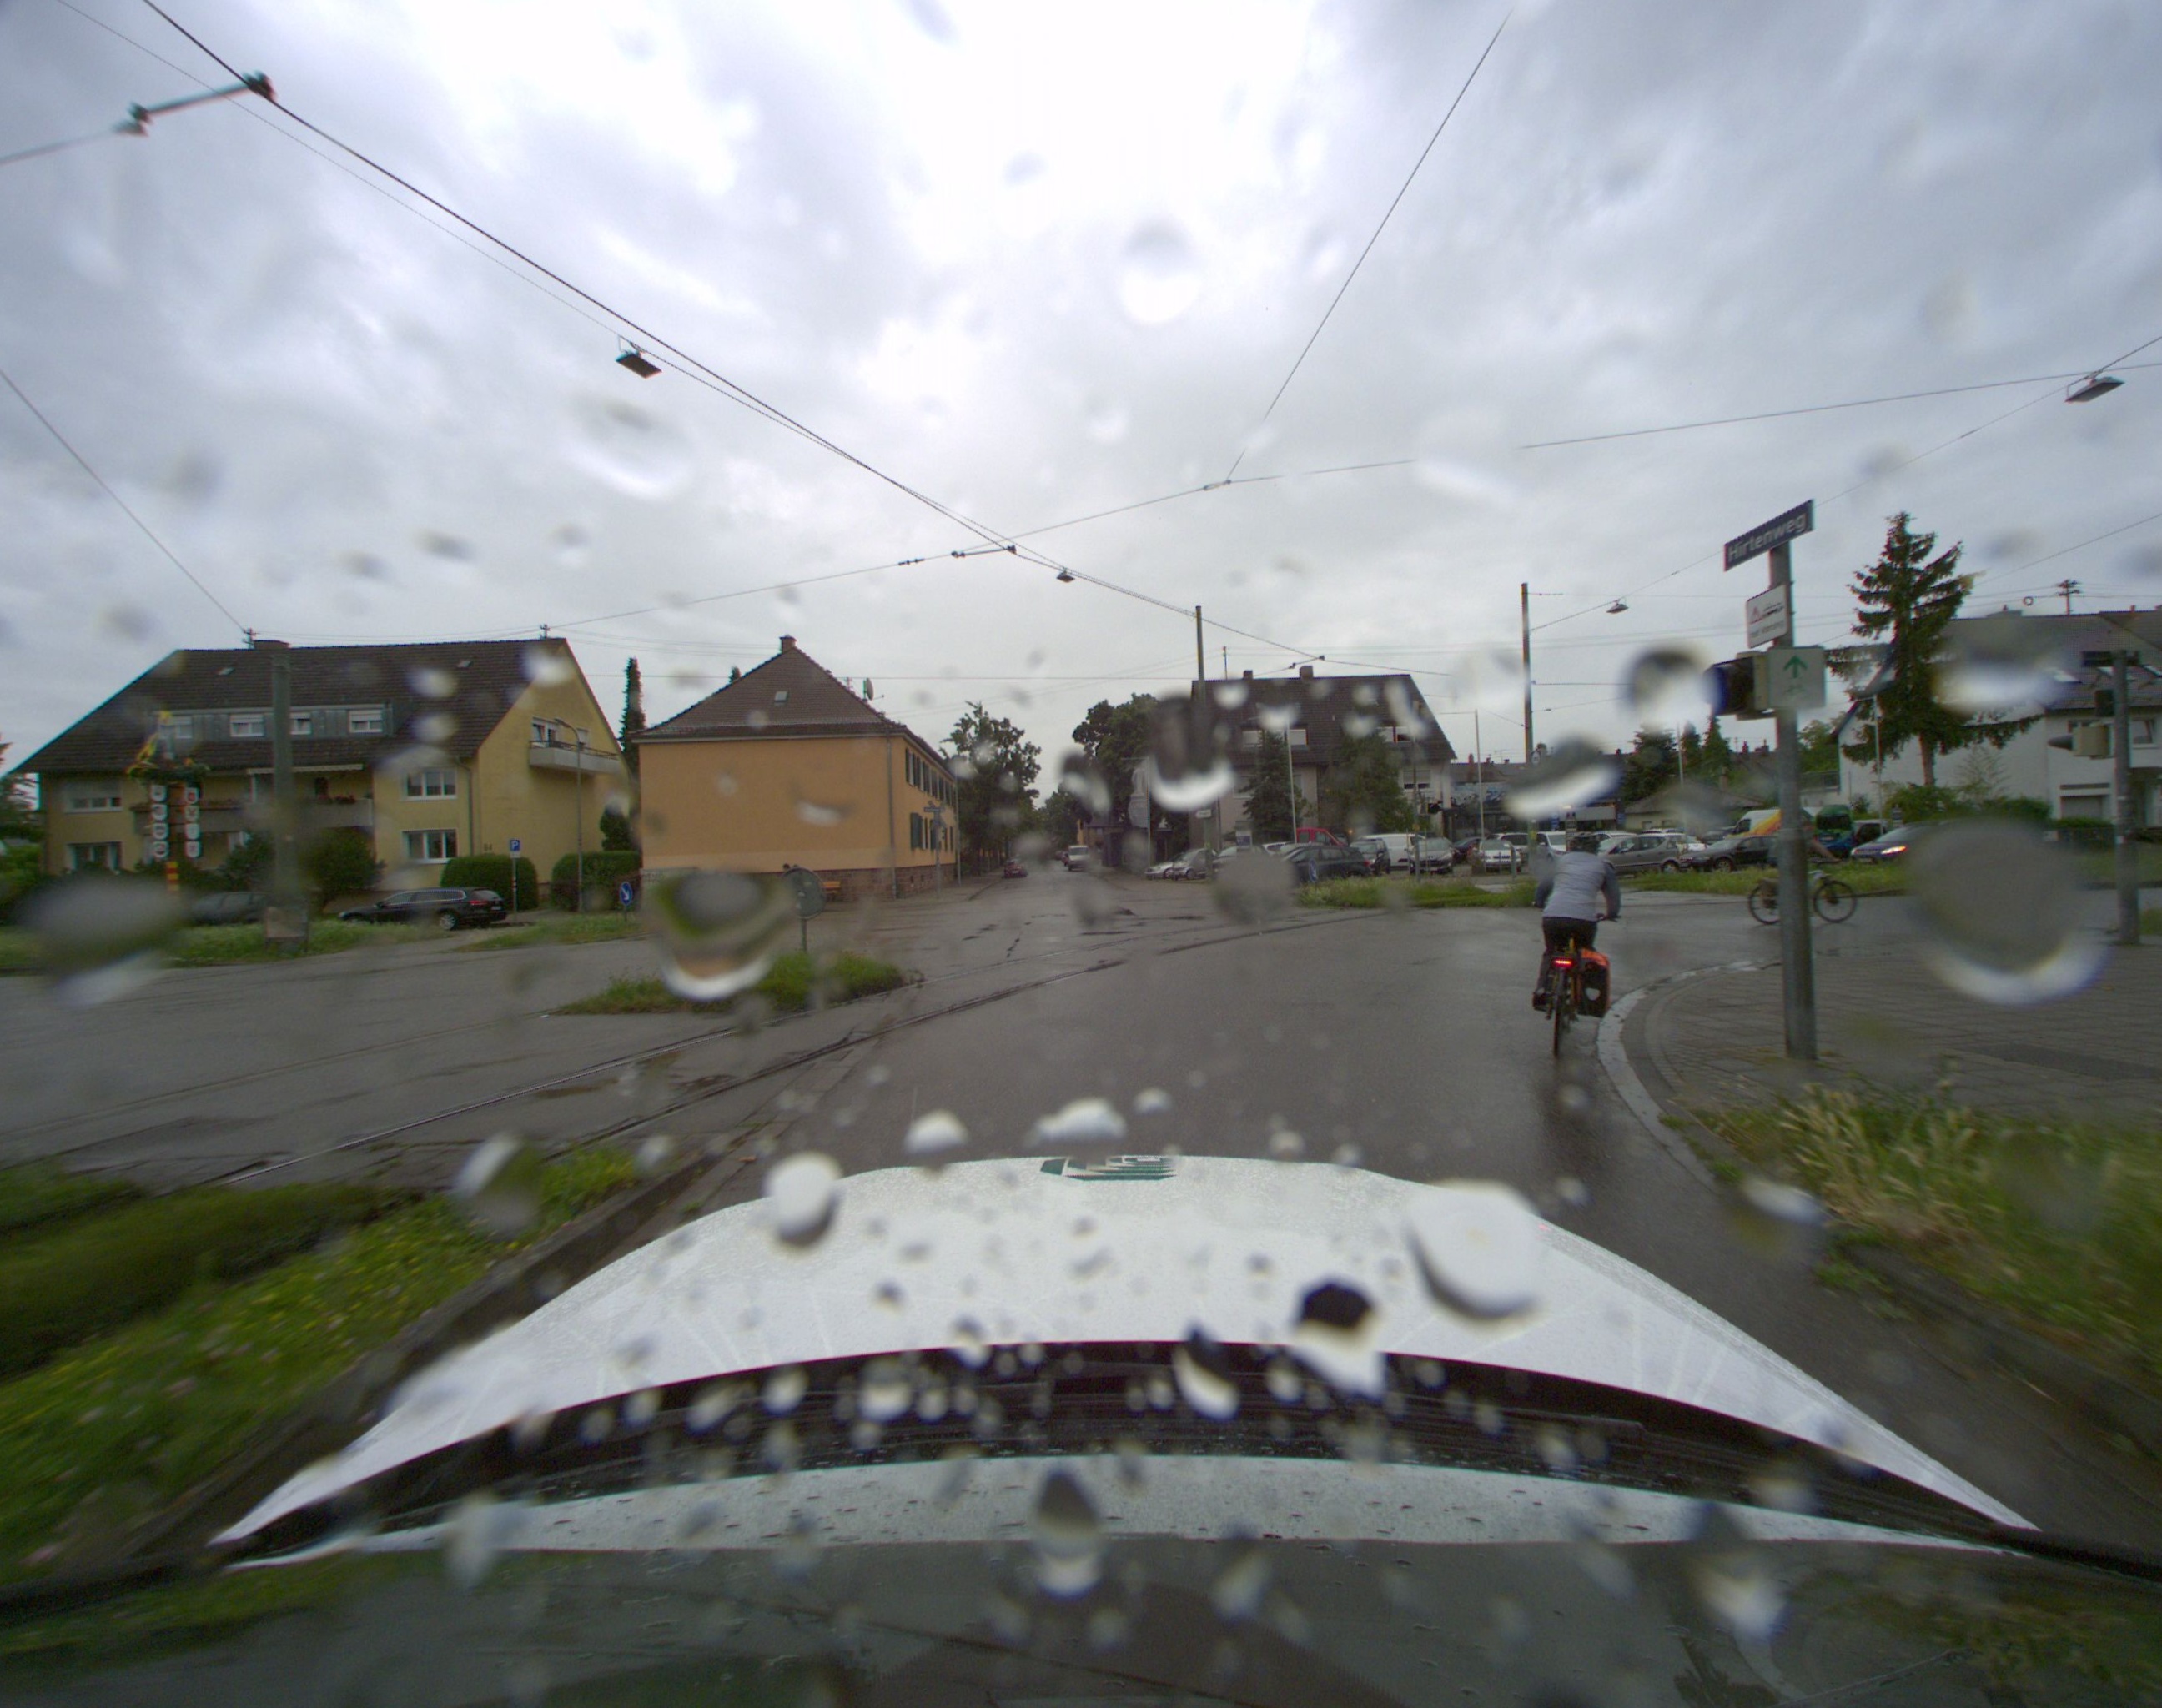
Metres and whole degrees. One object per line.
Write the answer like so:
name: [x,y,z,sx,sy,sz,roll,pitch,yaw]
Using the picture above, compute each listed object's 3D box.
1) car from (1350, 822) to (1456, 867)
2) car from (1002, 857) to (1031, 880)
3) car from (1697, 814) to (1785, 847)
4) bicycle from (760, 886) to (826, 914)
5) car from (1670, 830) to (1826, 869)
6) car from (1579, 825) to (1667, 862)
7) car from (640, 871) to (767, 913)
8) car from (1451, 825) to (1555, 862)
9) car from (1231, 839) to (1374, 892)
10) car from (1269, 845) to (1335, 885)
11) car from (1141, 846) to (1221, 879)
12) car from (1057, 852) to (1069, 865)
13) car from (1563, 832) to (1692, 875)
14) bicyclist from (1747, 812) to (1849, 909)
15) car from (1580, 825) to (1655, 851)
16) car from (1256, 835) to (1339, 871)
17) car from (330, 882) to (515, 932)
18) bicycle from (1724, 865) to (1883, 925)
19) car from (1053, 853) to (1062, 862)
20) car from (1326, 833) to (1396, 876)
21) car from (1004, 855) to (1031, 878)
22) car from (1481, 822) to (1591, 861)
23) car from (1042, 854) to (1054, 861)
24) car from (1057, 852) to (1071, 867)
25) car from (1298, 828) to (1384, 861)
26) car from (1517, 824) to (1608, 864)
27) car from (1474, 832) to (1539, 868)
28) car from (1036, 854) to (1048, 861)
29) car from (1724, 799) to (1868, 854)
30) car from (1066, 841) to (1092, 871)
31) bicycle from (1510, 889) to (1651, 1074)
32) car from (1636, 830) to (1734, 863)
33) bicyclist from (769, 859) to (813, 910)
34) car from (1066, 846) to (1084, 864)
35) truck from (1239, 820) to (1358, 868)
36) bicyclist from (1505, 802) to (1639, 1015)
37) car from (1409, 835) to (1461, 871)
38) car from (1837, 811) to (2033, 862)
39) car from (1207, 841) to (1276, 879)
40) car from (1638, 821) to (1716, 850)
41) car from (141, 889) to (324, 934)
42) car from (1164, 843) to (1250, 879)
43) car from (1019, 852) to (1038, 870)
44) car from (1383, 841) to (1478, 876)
car: [16.039,-0.437,40.737,4.416,2.014,2.000,-2,-1,1]
car: [-4.793,1.075,60.658,1.989,1.618,3.995,-2,-1,-3]
car: [36.447,-1.304,44.968,4.404,1.580,1.851,-2,-1,-23]
bicycle: [-9.456,1.509,26.770,1.809,0.786,0.941,-3,0,-3]
car: [24.209,-0.154,29.650,4.362,1.339,1.722,0,0,-1]
car: [24.360,-0.433,36.750,1.710,1.573,3.620,0,0,3]
car: [-13.040,1.289,28.310,3.597,1.339,1.721,0,0,-4]
car: [22.261,-0.530,43.047,4.416,1.687,2.000,-2,-1,1]
car: [7.052,0.351,26.199,3.977,1.476,1.998,-3,0,-3]
car: [10.047,0.469,36.805,1.784,1.578,3.897,-3,0,32]
car: [5.465,0.456,44.585,3.873,1.578,1.795,-3,0,-21]
car: [-2.832,0.707,129.797,1.824,2.013,3.995,0,0,-3]
car: [19.761,-0.029,29.535,3.624,1.504,1.721,0,0,-3]
bicyclist: [11.934,0.107,13.581,0.909,1.558,0.832,-1,-1,-4]
car: [32.578,-0.951,49.583,1.777,1.498,3.995,0,0,-3]
car: [11.126,-0.047,41.807,3.933,1.598,2.010,-3,-1,19]
car: [-22.103,1.763,27.485,4.480,1.396,1.965,-2,0,-3]
bicycle: [12.006,0.669,13.573,1.975,0.912,0.823,-1,-1,-4]
car: [-5.140,0.766,175.637,1.824,2.013,3.995,0,0,-3]
car: [12.405,-0.017,35.933,1.974,1.717,4.026,-3,0,32]
car: [-5.078,0.987,65.717,1.989,1.750,3.995,-2,-1,-3]
car: [22.632,-0.619,40.632,4.416,1.687,1.761,-2,-1,1]
car: [-7.795,0.795,193.843,1.833,1.697,4.008,0,0,-17]
car: [-2.393,0.715,111.538,1.824,2.013,3.995,0,0,-3]
car: [15.186,-0.544,47.758,4.416,1.687,2.000,-2,-1,1]
car: [21.408,-0.415,36.402,1.795,1.578,3.872,-3,0,1]
car: [18.641,-0.173,35.844,1.813,1.504,4.076,0,0,16]
car: [-9.555,0.808,199.255,1.833,1.697,4.008,0,0,-17]
car: [33.153,-1.192,38.019,2.139,2.406,5.147,0,0,-1]
car: [-0.231,0.193,73.334,2.148,2.572,4.129,0,0,-3]
bicycle: [3.771,0.881,6.290,0.745,1.073,1.939,-4,0,28]
car: [27.080,-0.308,36.667,1.710,1.396,3.845,0,0,3]
bicyclist: [-9.514,0.988,26.766,1.036,1.598,0.949,-3,0,-2]
car: [-0.694,0.113,90.584,1.988,2.013,3.998,0,0,-1]
truck: [11.901,-0.499,44.525,6.033,2.272,2.010,-3,-1,19]
bicyclist: [3.703,0.388,6.208,0.744,1.485,0.851,-4,0,28]
car: [15.657,-0.026,35.943,1.810,1.504,4.083,0,0,27]
car: [27.908,-0.561,26.712,4.547,1.605,1.998,0,0,-3]
car: [7.474,0.237,37.687,1.784,1.578,3.897,-3,0,32]
car: [36.794,-1.153,50.258,4.451,1.580,1.780,-2,-1,-23]
car: [-27.774,1.855,26.770,3.979,1.332,1.757,0,0,-4]
car: [6.397,0.354,41.357,3.873,1.578,1.795,-3,0,-21]
car: [-6.120,0.832,95.429,1.988,2.013,3.998,0,0,-1]
car: [19.537,0.266,45.662,4.416,1.687,2.000,-2,-1,1]
